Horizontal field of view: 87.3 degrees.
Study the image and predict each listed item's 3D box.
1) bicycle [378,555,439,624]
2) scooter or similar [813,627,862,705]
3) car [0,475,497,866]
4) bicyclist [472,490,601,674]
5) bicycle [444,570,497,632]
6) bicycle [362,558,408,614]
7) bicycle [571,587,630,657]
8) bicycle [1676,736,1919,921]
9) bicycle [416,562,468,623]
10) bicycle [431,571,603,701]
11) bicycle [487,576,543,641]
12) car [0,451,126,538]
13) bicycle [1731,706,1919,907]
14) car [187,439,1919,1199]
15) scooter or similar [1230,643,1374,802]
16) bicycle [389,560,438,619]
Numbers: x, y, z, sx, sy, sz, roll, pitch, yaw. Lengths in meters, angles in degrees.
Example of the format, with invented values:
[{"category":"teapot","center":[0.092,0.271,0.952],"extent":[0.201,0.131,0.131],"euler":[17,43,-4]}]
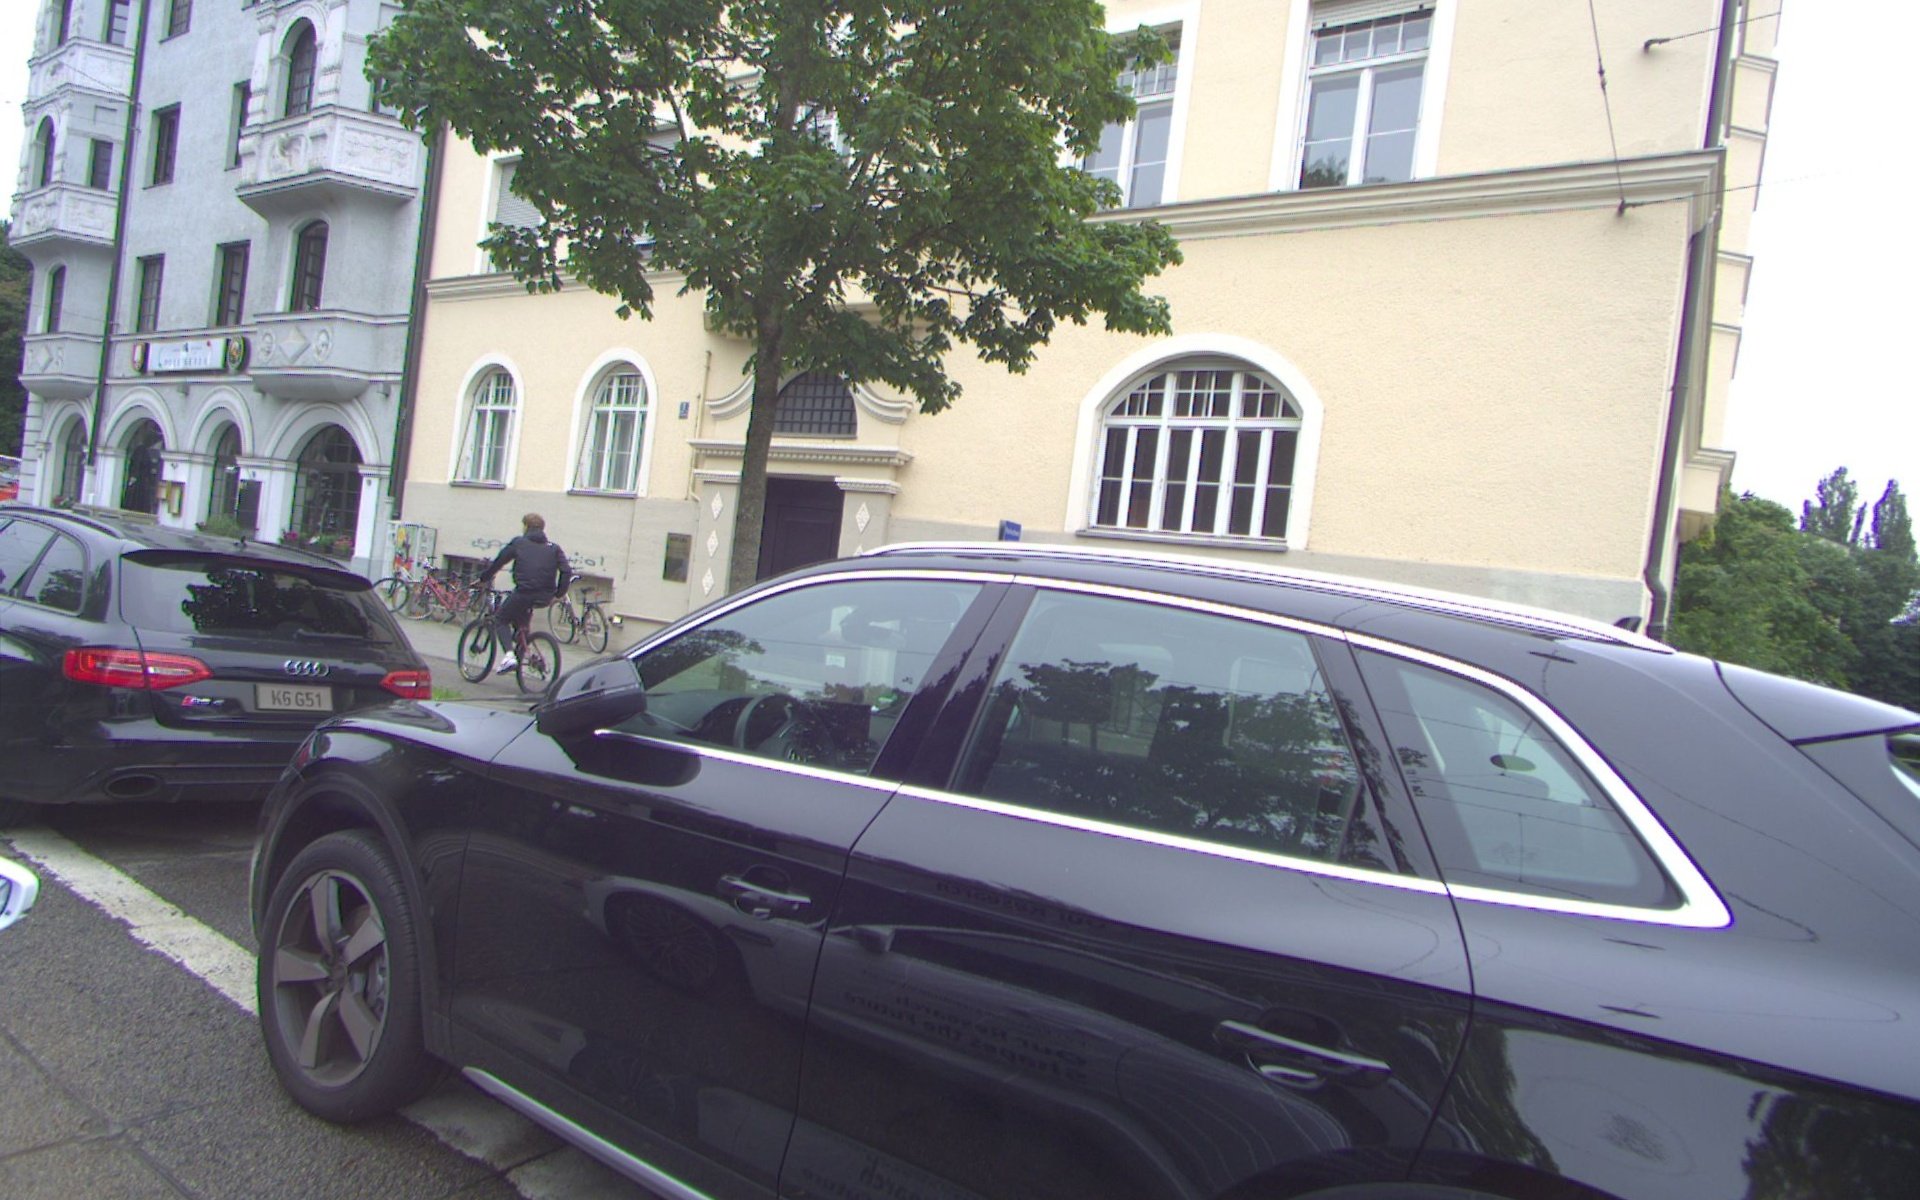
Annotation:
[{"category":"bicycle","center":[-9.536,-0.185,17.375],"extent":[1.203,1.051,0.242],"euler":[7,-1,32]},{"category":"scooter or similar","center":[-1.545,0.832,12.709],"extent":[0.413,0.921,0.348],"euler":[8,-1,11]},{"category":"car","center":[-4.862,0.142,5.682],"extent":[4.525,1.442,1.720],"euler":[7,-2,31]},{"category":"bicyclist","center":[-4.336,-0.174,10.322],"extent":[0.714,1.749,0.726],"euler":[7,-1,31]},{"category":"bicycle","center":[-8.257,0.011,16.962],"extent":[0.871,0.941,0.273],"euler":[7,-1,33]},{"category":"bicycle","center":[-10.590,-0.259,18.527],"extent":[0.871,0.941,0.259],"euler":[7,-1,33]},{"category":"bicycle","center":[-5.440,0.332,15.200],"extent":[0.871,0.941,0.222],"euler":[7,-1,31]},{"category":"bicycle","center":[6.550,1.745,7.855],"extent":[1.417,1.119,0.287],"euler":[7,0,24]},{"category":"bicycle","center":[-9.023,-0.135,17.517],"extent":[0.871,0.941,0.306],"euler":[7,-1,34]},{"category":"bicycle","center":[-4.617,0.347,10.429],"extent":[1.880,1.093,0.579],"euler":[7,2,31]},{"category":"bicycle","center":[-7.176,0.128,16.220],"extent":[0.871,0.941,0.285],"euler":[7,-1,33]},{"category":"car","center":[-36.512,-4.250,39.375],"extent":[2.192,2.642,5.311],"euler":[7,-2,29]},{"category":"bicycle","center":[6.966,1.589,7.714],"extent":[1.511,1.327,0.332],"euler":[7,-1,30]},{"category":"car","center":[0.157,0.667,2.522],"extent":[4.414,1.677,1.777],"euler":[7,-2,32]},{"category":"scooter or similar","center":[3.265,1.152,9.639],"extent":[1.123,1.328,0.262],"euler":[7,-1,30]},{"category":"bicycle","center":[-9.808,-0.195,18.043],"extent":[0.871,0.941,0.291],"euler":[7,-1,33]}]
